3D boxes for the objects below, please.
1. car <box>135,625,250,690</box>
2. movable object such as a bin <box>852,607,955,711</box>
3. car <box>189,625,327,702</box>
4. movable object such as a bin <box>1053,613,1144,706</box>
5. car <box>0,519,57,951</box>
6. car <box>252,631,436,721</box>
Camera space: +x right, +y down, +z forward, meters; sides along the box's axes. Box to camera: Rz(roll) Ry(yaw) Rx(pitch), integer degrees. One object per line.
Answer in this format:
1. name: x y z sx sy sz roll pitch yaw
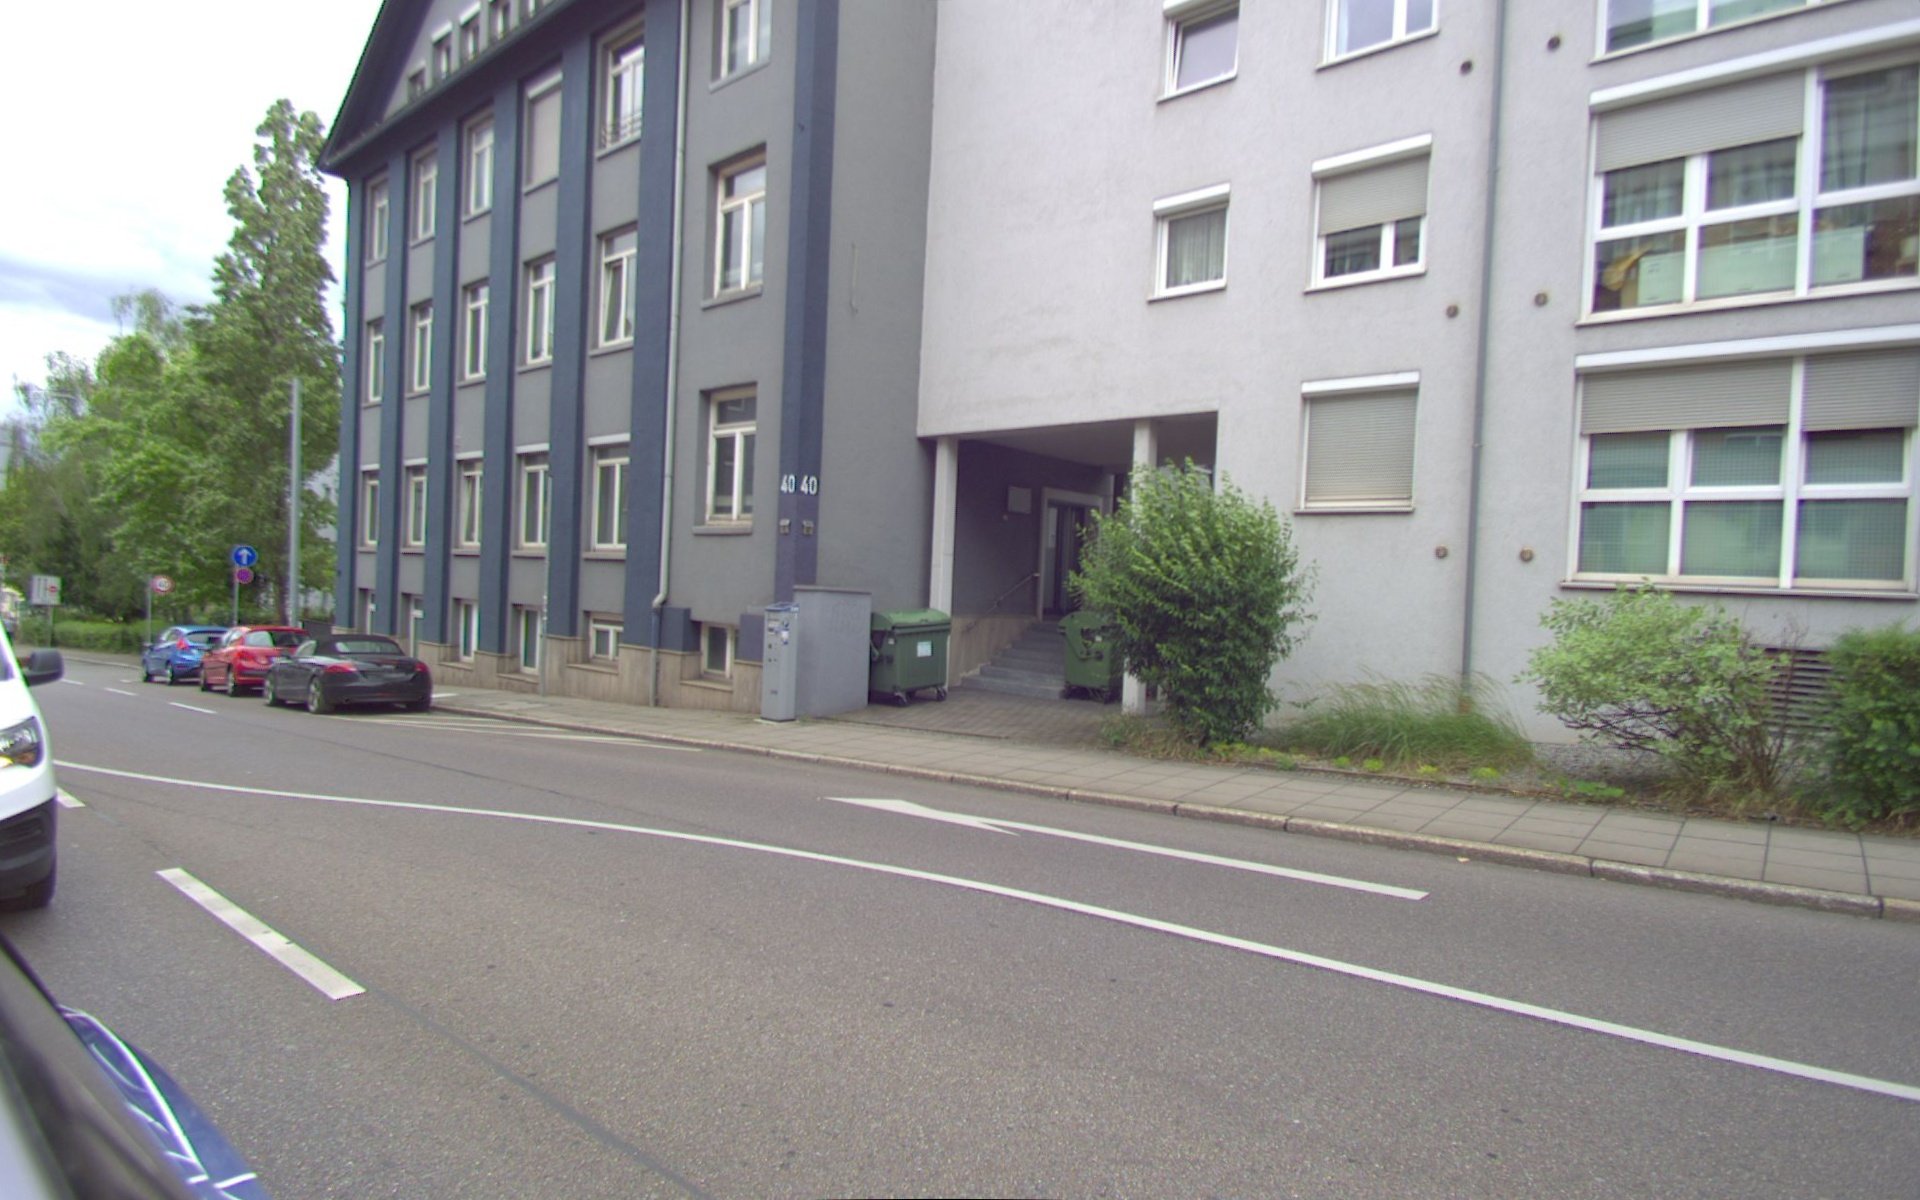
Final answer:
1. car: -19.514 1.411 25.691 3.727 1.460 1.623 -1 0 41
2. movable object such as a bin: -0.876 0.874 15.744 1.039 1.518 1.213 -1 0 41
3. car: -15.332 1.320 22.048 3.727 1.460 1.623 -1 0 41
4. movable object such as a bin: 2.255 0.934 16.515 1.078 1.427 1.026 -1 0 41
5. car: -6.166 0.619 5.262 3.998 1.901 1.716 -1 0 41
6. car: -11.091 1.279 18.145 3.727 1.403 1.778 -1 -2 41
